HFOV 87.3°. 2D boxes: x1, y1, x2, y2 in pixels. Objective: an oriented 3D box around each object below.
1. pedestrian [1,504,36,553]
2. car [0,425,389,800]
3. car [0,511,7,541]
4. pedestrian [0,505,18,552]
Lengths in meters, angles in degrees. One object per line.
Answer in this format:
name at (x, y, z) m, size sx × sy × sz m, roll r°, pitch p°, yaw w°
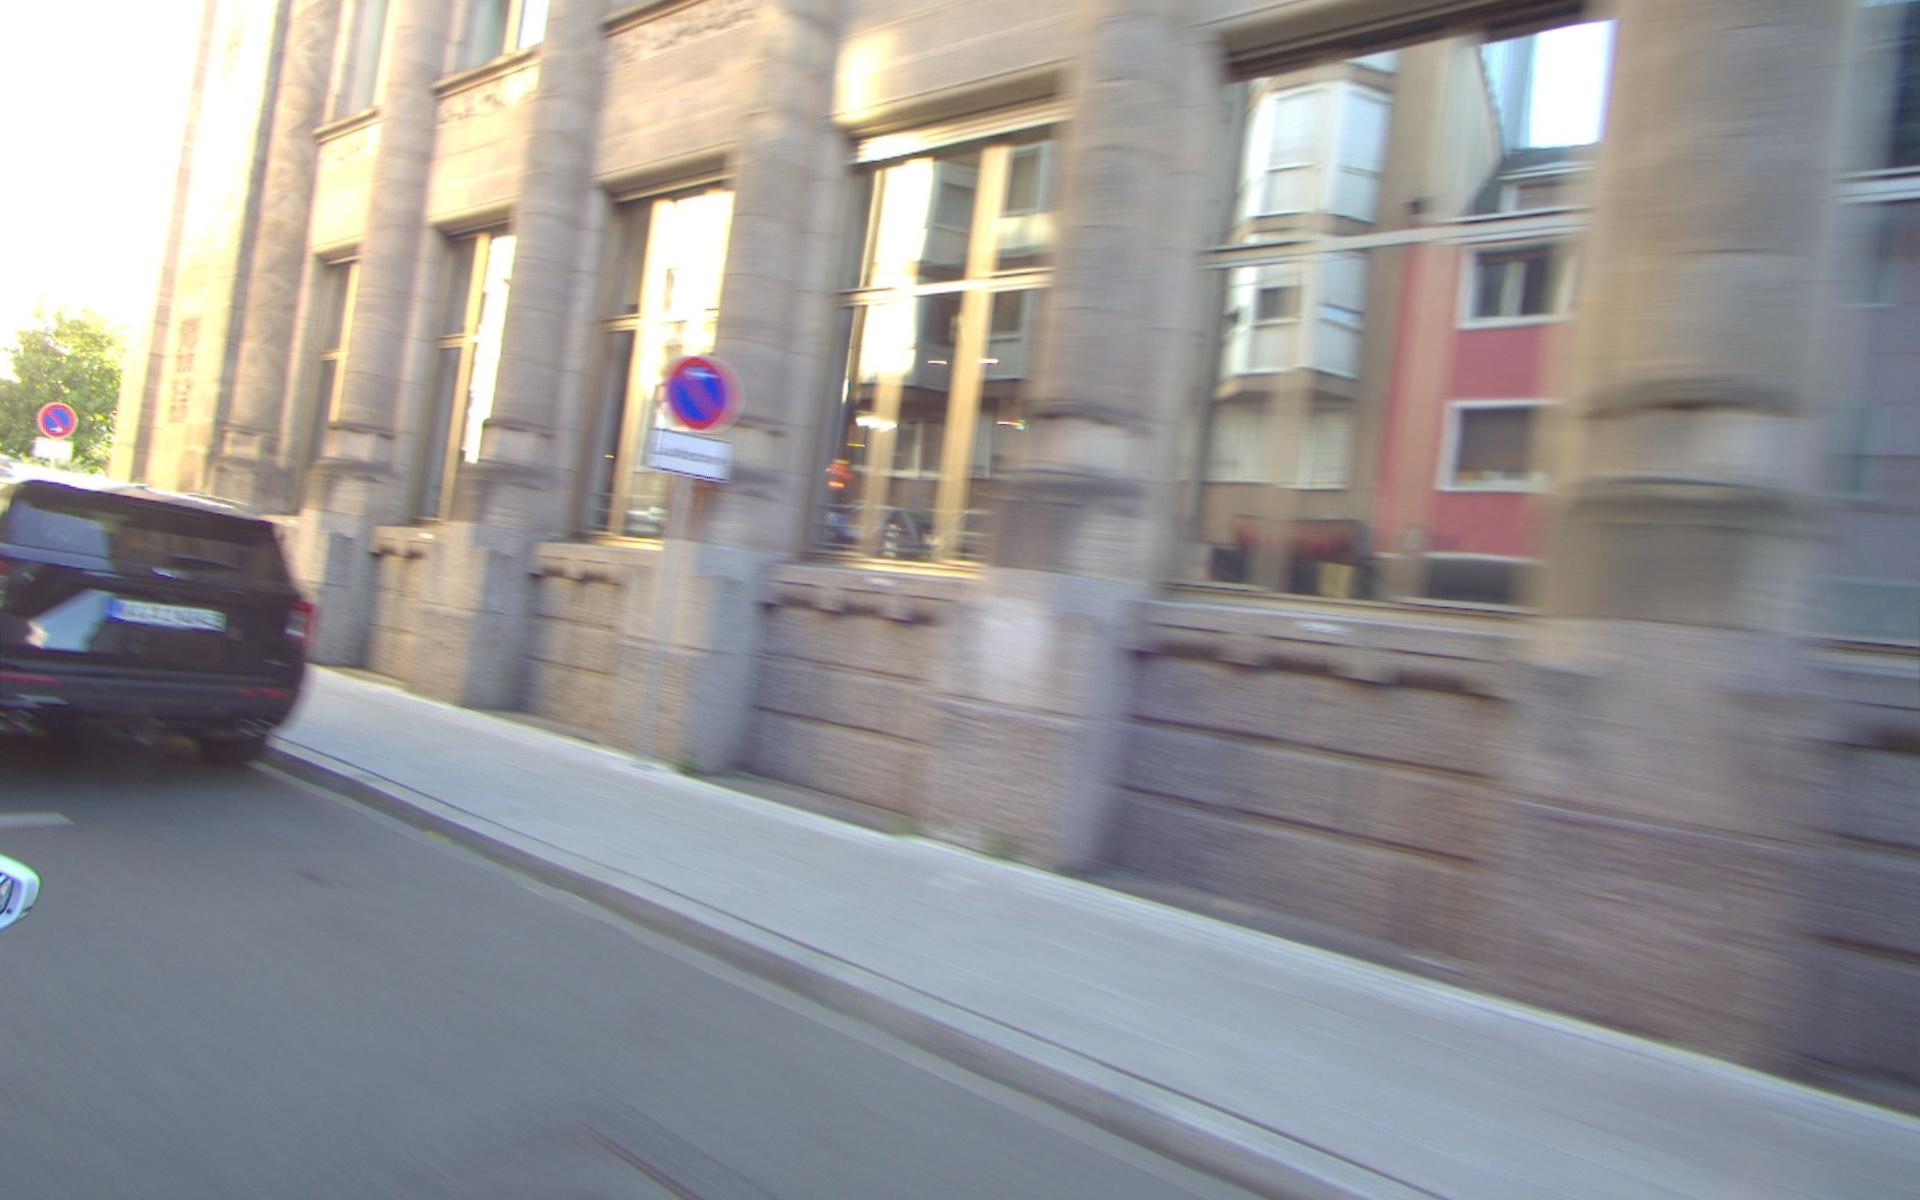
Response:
pedestrian at (-34.562, -2.625, 36.943) m, size 0.700 × 1.690 × 0.635 m, roll 9°, pitch 0°, yaw -38°
car at (-6.257, -0.069, 6.823) m, size 4.854 × 1.803 × 1.997 m, roll 7°, pitch -3°, yaw 33°
car at (-52.971, -4.190, 53.265) m, size 1.865 × 1.616 × 4.668 m, roll 9°, pitch -3°, yaw -22°
pedestrian at (-35.498, -2.670, 37.213) m, size 0.700 × 1.690 × 0.635 m, roll 9°, pitch 0°, yaw -38°
